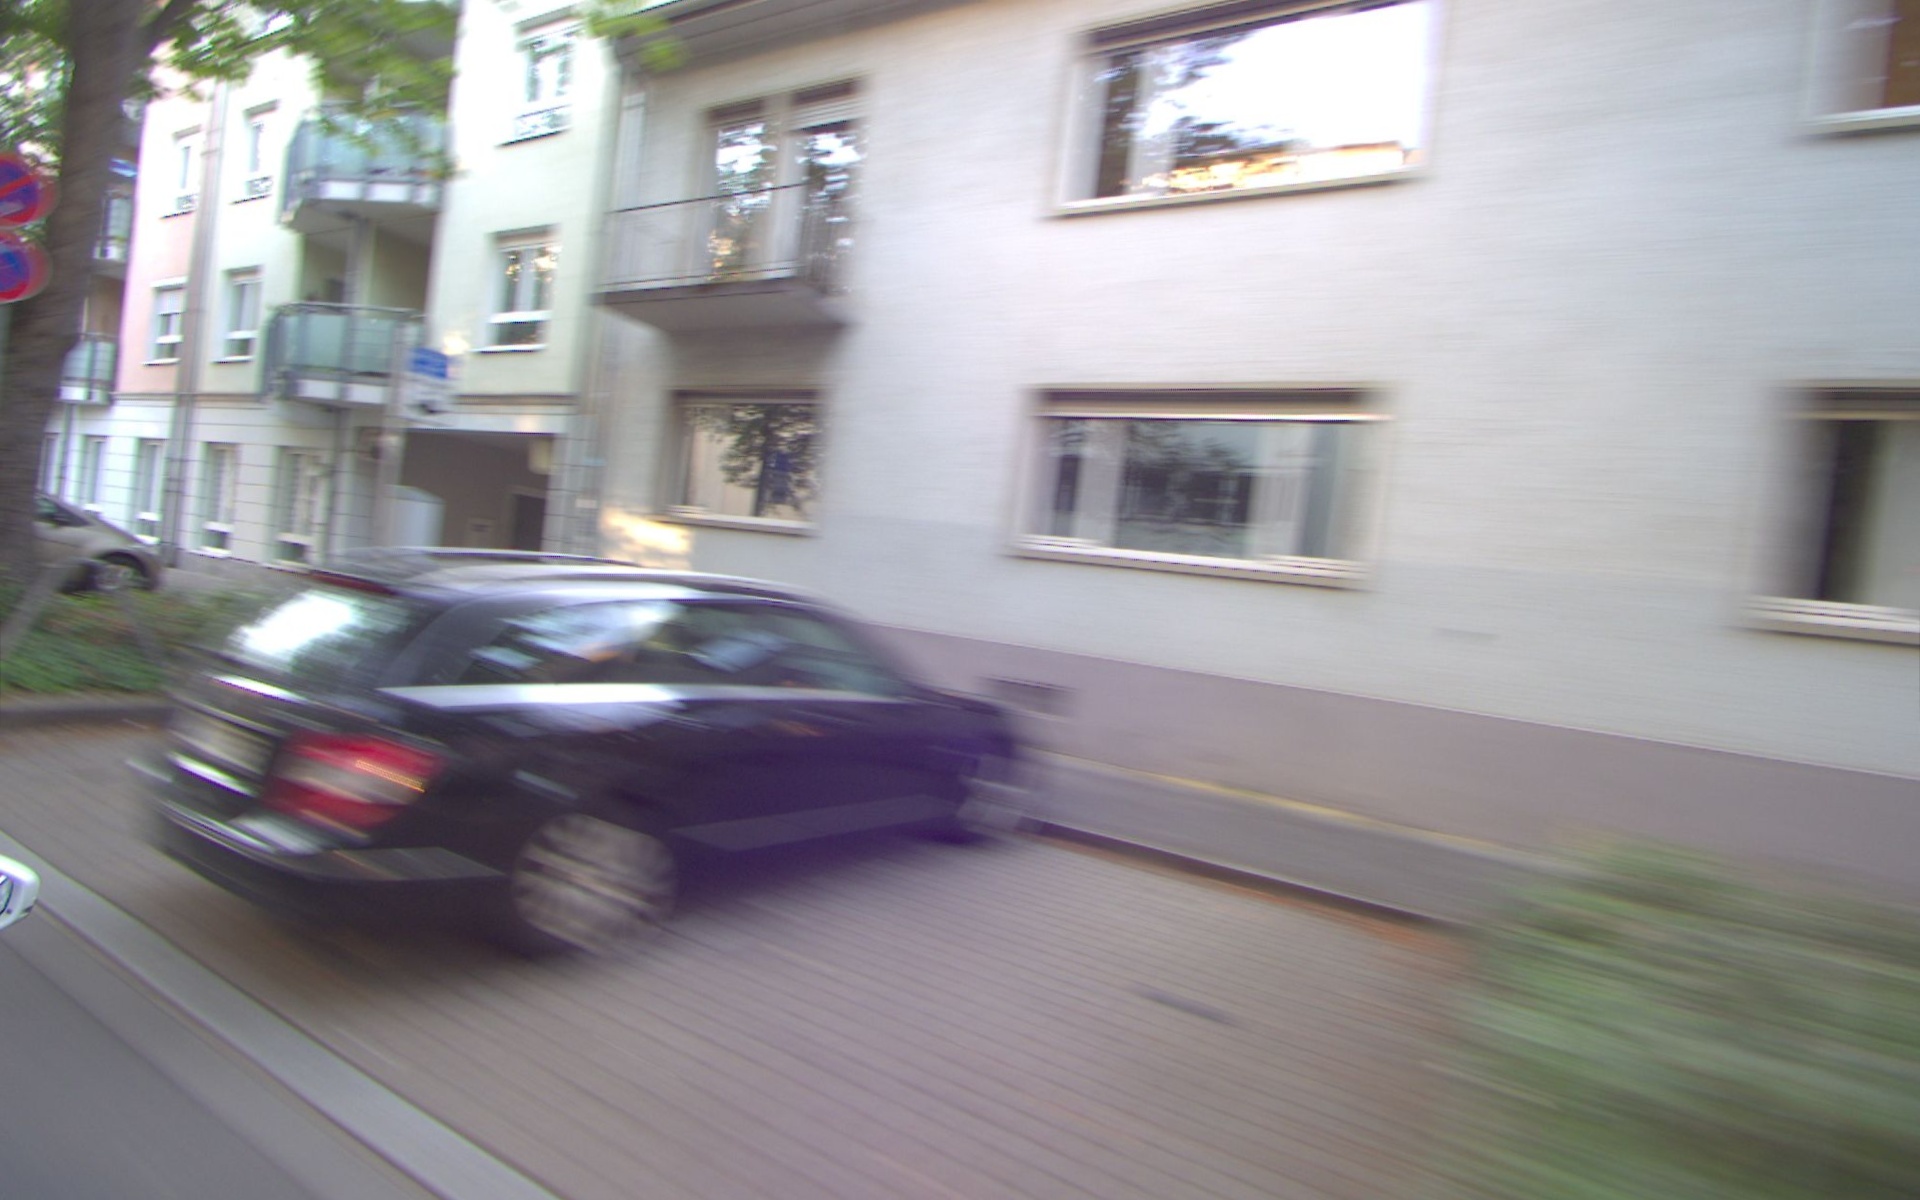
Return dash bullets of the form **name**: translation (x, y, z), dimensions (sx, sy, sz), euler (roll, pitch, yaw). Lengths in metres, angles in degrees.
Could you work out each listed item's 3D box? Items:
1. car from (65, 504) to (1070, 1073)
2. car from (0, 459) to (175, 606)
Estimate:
- **car**: translation (-1.345, 0.544, 4.994), dimensions (1.704, 1.490, 4.353), euler (7, 3, 36)
- **car**: translation (-12.156, -0.910, 12.057), dimensions (1.894, 1.689, 3.863), euler (7, 2, 31)
